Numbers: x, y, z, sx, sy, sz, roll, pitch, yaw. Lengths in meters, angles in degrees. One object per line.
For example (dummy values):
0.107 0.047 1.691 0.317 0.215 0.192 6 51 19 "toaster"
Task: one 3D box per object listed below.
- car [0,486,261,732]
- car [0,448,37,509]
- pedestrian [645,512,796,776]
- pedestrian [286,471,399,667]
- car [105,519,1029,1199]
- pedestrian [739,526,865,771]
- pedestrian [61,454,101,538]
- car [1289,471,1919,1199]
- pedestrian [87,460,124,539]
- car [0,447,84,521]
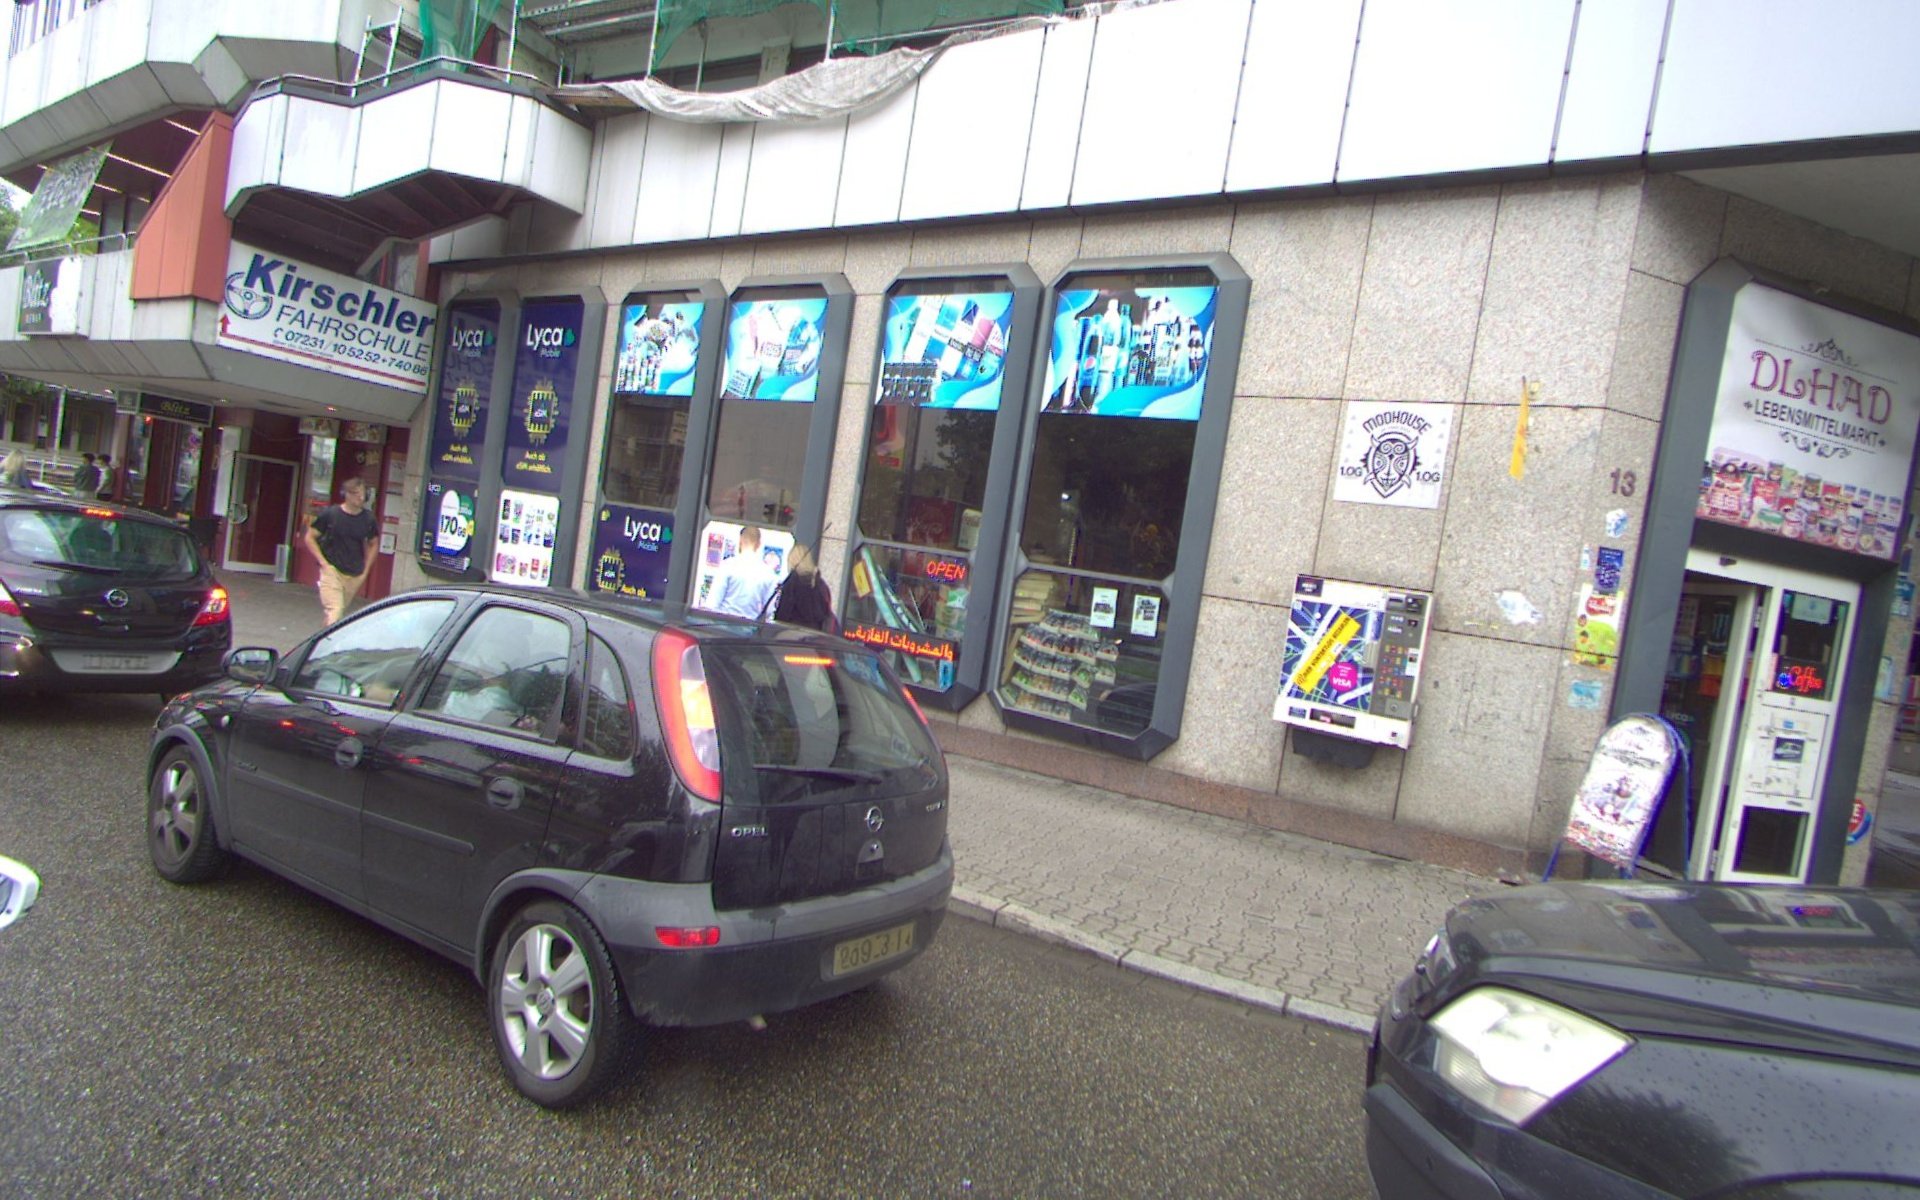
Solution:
-7.082 -0.103 7.354 3.776 1.446 1.620 8 -1 29 "car"
-26.736 -3.461 25.972 1.593 1.503 3.911 6 -2 19 "car"
-1.888 0.344 7.981 0.629 1.957 0.737 6 -1 31 "pedestrian"
-6.119 -0.306 9.963 0.763 1.841 0.739 7 4 43 "pedestrian"
-1.739 0.640 4.102 3.563 1.446 1.609 8 -1 33 "car"
-1.347 0.391 8.611 0.629 1.961 0.736 6 4 31 "pedestrian"
-18.650 -2.200 21.349 0.443 1.704 0.426 6 1 30 "pedestrian"
2.794 0.981 1.432 4.094 1.786 1.763 8 -1 31 "car"
-18.697 -2.206 22.007 0.496 1.660 0.396 6 1 32 "pedestrian"
-24.008 -2.993 24.044 1.673 1.584 4.240 8 0 21 "car"
